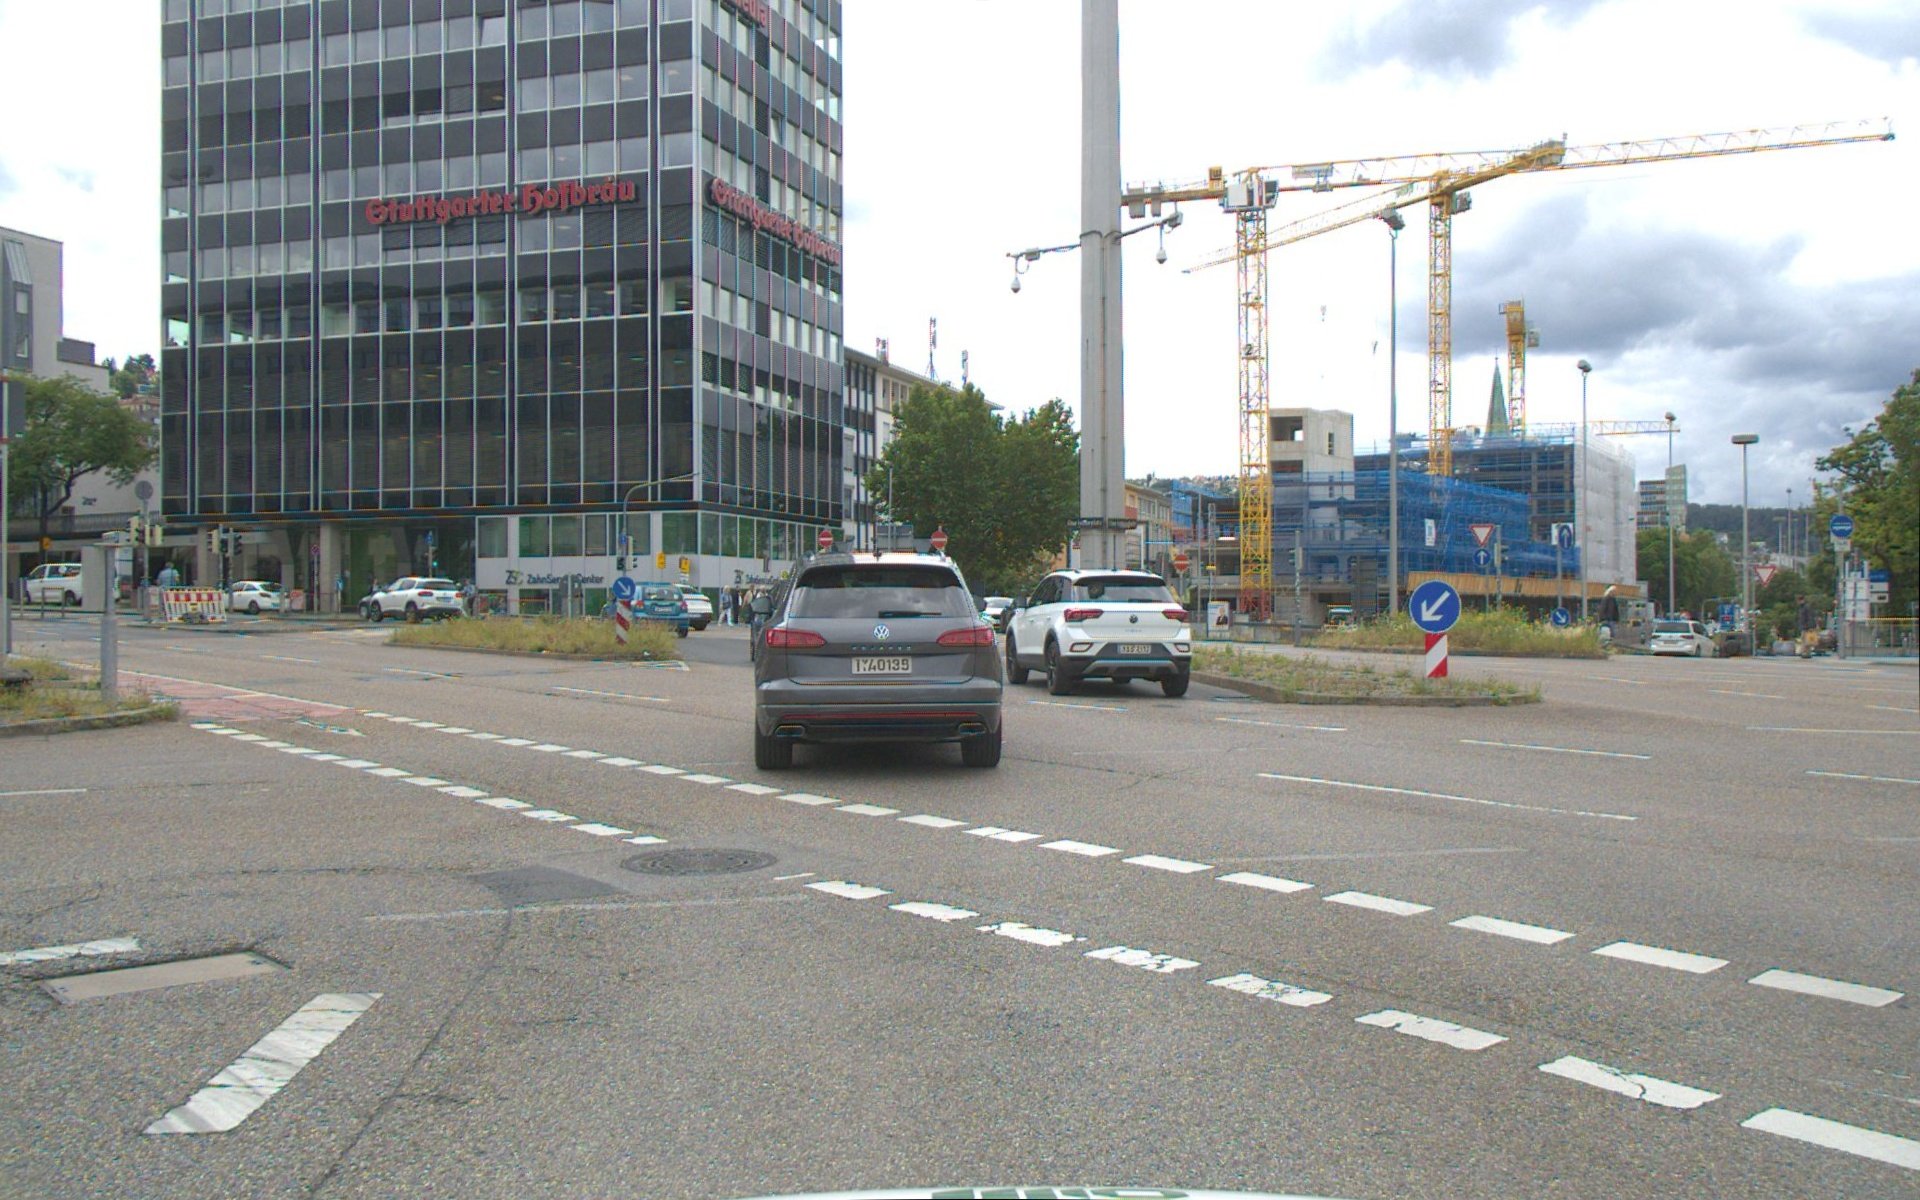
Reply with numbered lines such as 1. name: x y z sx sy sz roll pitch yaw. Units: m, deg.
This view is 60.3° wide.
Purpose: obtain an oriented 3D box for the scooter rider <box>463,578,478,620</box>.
1. scooter rider: -21.571 -0.036 72.933 0.631 1.840 0.590 0 0 -18

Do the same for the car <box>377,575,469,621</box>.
1. car: -19.535 -0.099 60.121 1.823 1.594 3.708 0 1 -43

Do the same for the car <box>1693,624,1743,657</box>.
1. car: 41.654 2.210 90.840 1.958 1.663 3.990 1 1 32

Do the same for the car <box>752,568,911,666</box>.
1. car: -2.031 0.279 27.404 1.794 1.420 4.150 2 0 7

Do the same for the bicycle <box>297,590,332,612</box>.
1. bicycle: -32.397 0.041 83.015 1.450 1.066 0.714 1 0 3

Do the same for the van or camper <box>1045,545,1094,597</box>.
1. van or camper: 5.503 -1.445 82.409 2.094 2.520 6.167 0 1 7

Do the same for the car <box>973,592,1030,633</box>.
1. car: 1.591 0.524 65.636 1.953 1.531 5.037 1 -1 -2

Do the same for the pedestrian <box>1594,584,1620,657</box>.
1. pedestrian: 17.214 0.539 44.004 0.544 1.928 0.639 0 1 13

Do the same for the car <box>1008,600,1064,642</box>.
1. car: 2.524 0.694 55.531 1.637 1.286 4.057 0 1 -1

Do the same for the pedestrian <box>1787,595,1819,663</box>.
1. pedestrian: 23.146 0.777 45.400 0.736 1.820 0.826 1 2 31

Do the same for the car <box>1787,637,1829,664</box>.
1. car: 60.347 3.570 117.661 1.961 1.663 3.983 1 1 37

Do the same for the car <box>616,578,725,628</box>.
1. car: -9.361 0.073 53.294 1.822 1.544 3.710 0 1 -42

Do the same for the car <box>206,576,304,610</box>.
1. car: -31.377 -0.324 73.563 4.244 1.443 2.057 1 1 34

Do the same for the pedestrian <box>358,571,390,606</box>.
1. pedestrian: -27.599 -0.545 77.922 0.939 1.662 1.067 0 1 17

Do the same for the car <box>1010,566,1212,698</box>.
1. car: 1.869 0.347 21.707 1.764 1.572 3.928 0 1 -8

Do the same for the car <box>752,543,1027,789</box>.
1. car: -0.693 0.430 13.778 1.932 1.725 4.220 0 1 -6

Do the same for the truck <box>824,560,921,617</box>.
1. truck: -5.095 -0.615 97.898 2.291 3.117 8.195 0 -1 24

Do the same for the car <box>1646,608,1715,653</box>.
1. car: 29.004 1.243 66.528 1.841 1.629 3.987 1 -2 34

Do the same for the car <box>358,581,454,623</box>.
1. car: -22.184 0.071 66.166 3.924 1.601 1.857 1 1 39

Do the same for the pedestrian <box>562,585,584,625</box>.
1. pedestrian: -17.029 0.230 72.844 0.782 1.727 0.548 0 1 18

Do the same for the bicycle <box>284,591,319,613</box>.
1. bicycle: -32.733 0.114 82.253 1.450 1.066 0.714 1 0 3

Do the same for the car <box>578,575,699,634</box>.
1. car: -8.828 0.093 45.191 1.819 1.544 3.717 0 1 -37

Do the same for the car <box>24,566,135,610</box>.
1. car: -39.375 -0.536 73.996 4.756 1.907 1.837 1 1 24

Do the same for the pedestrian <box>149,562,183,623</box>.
1. pedestrian: -24.430 -0.249 50.896 0.620 1.821 0.717 2 4 24

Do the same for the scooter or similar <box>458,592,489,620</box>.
1. scooter or similar: -21.453 0.260 72.977 1.299 1.196 0.590 0 0 -18
